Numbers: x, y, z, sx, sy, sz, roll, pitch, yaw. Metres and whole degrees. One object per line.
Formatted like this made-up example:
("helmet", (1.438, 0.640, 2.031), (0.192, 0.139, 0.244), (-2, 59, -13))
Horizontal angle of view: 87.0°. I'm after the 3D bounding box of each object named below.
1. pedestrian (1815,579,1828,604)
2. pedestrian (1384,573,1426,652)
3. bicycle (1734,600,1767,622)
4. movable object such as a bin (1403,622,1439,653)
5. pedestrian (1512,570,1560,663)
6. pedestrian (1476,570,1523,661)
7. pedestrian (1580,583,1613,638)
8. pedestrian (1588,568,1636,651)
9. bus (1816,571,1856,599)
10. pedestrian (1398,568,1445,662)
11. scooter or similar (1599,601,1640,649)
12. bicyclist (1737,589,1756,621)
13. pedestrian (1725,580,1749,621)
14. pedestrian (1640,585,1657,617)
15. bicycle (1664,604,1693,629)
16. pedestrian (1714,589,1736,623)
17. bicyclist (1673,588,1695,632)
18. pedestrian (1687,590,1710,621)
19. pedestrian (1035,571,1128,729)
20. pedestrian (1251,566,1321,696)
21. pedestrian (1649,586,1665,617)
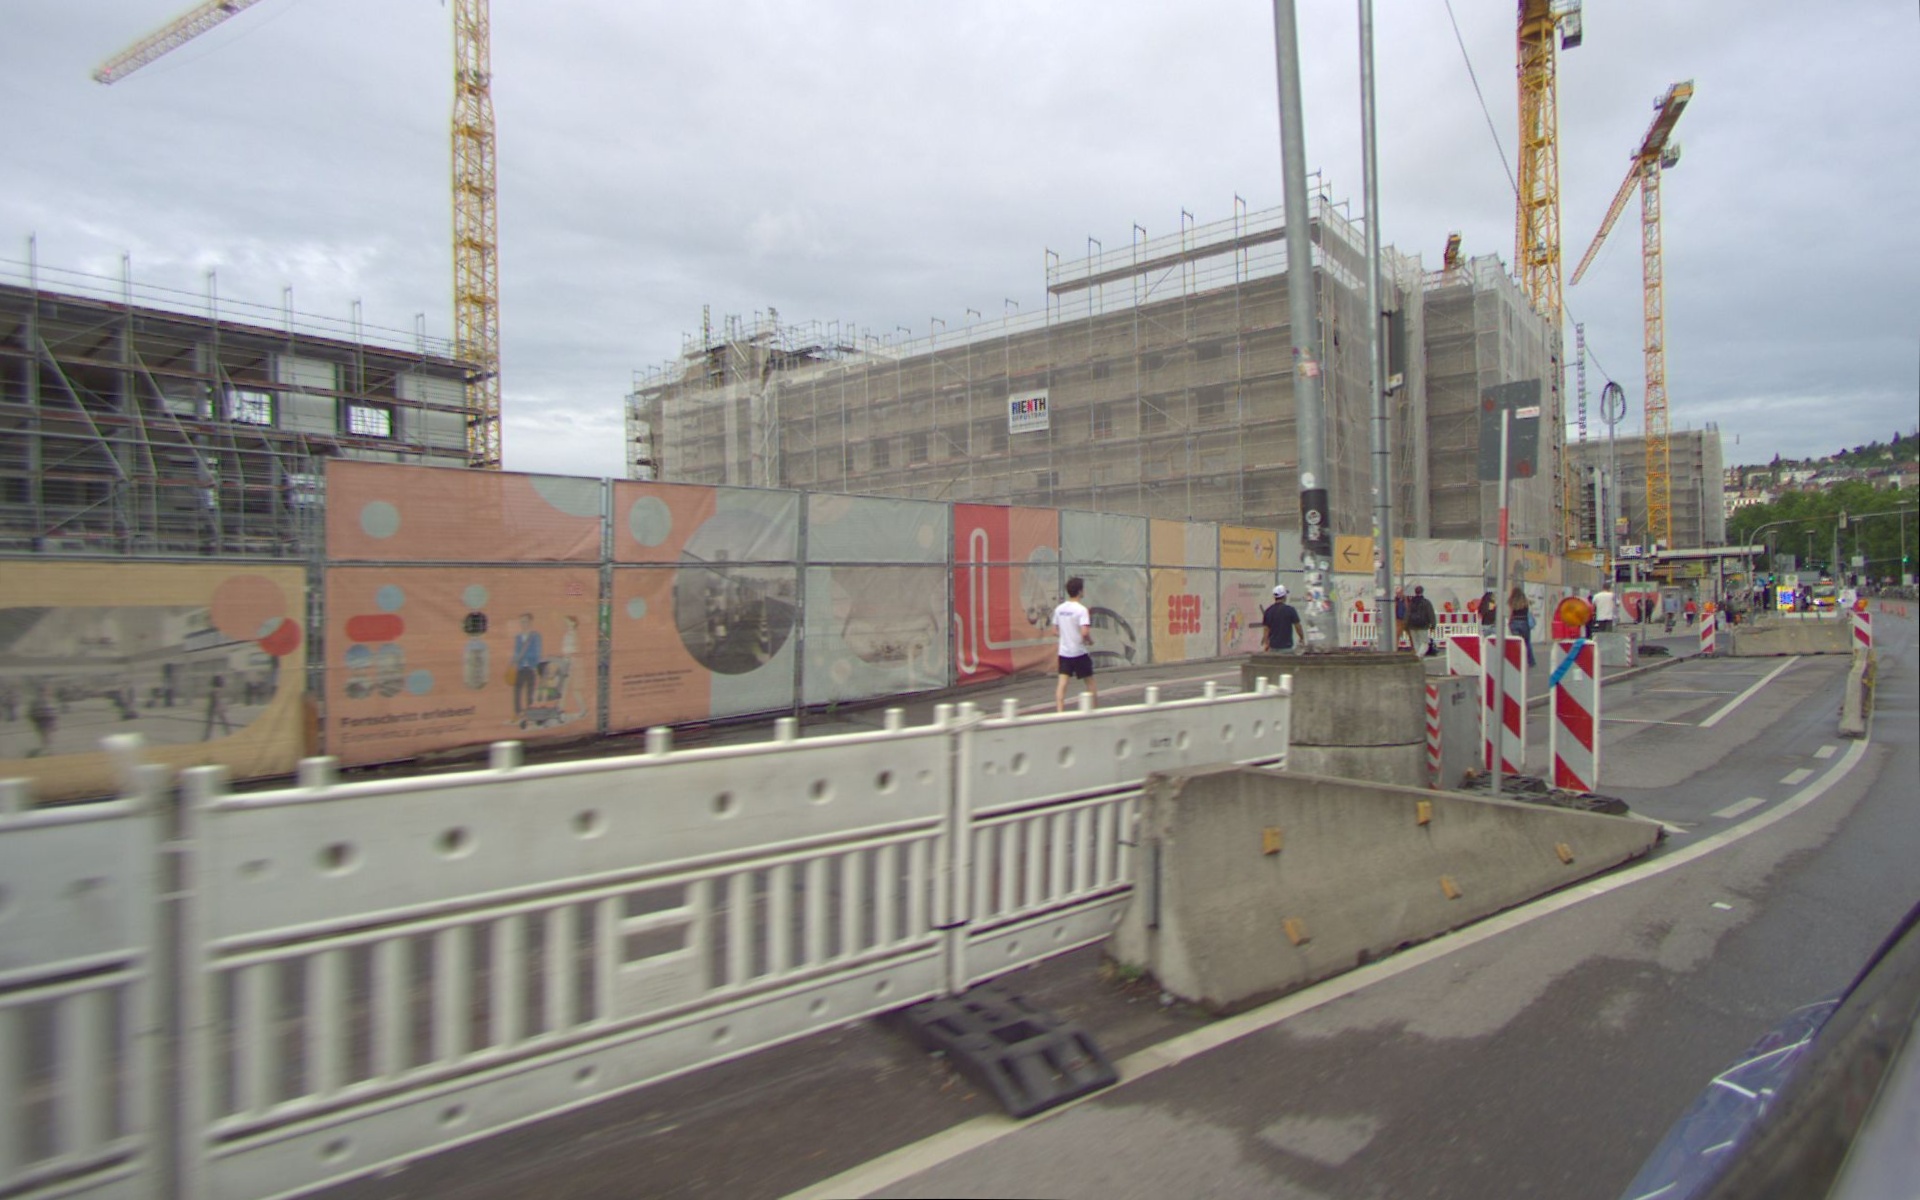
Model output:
("pedestrian", (71.228, -0.693, 83.703), (0.730, 2.039, 0.638), (-1, 0, 34))
("pedestrian", (11.075, 0.300, 25.181), (0.643, 1.919, 0.767), (0, -1, -45))
("bicycle", (43.173, 0.583, 55.238), (1.952, 1.148, 0.757), (-1, 1, -31))
("movable object such as a bin", (11.505, 0.922, 25.248), (0.597, 0.743, 0.766), (-1, 0, 43))
("pedestrian", (12.133, 0.339, 21.316), (0.682, 1.913, 0.684), (0, -1, -44))
("pedestrian", (11.647, 0.326, 21.850), (0.682, 1.913, 0.684), (0, -1, -44))
("pedestrian", (22.505, 0.360, 35.792), (0.848, 1.919, 0.651), (-1, -1, 45))
("pedestrian", (16.446, 0.237, 25.506), (0.956, 2.042, 0.803), (0, -1, -45))
("bus", (101.457, -1.729, 117.309), (2.984, 3.177, 7.661), (-1, 0, 37))
("pedestrian", (9.652, 0.306, 21.164), (0.683, 1.913, 0.683), (-1, -1, 42))
("scooter or similar", (17.124, 0.640, 26.277), (1.027, 1.214, 0.665), (0, -1, -45))
("bicyclist", (42.725, 0.286, 54.997), (0.425, 1.726, 0.697), (-1, 0, -31))
("pedestrian", (38.870, 0.033, 50.625), (0.850, 2.037, 0.788), (-1, 0, -40))
("pedestrian", (44.011, 0.051, 64.667), (0.615, 2.039, 0.642), (-1, -1, -25))
("bicycle", (33.392, 0.749, 47.023), (0.766, 1.126, 1.949), (-1, 0, 45))
("pedestrian", (40.685, 0.326, 53.829), (0.813, 1.778, 0.867), (-1, 0, 45))
("bicyclist", (33.384, 0.452, 46.683), (0.589, 2.039, 0.727), (0, -1, -45))
("pedestrian", (43.204, 0.320, 59.232), (0.731, 1.748, 0.713), (3, 3, 9))
("pedestrian", (1.435, 0.560, 11.899), (0.683, 1.762, 0.894), (-1, -1, 42))
("pedestrian", (4.581, 0.418, 14.212), (0.642, 1.762, 0.825), (-1, -1, 43))
("pedestrian", (45.247, 0.101, 65.663), (0.617, 2.039, 0.577), (-1, 0, 8))
